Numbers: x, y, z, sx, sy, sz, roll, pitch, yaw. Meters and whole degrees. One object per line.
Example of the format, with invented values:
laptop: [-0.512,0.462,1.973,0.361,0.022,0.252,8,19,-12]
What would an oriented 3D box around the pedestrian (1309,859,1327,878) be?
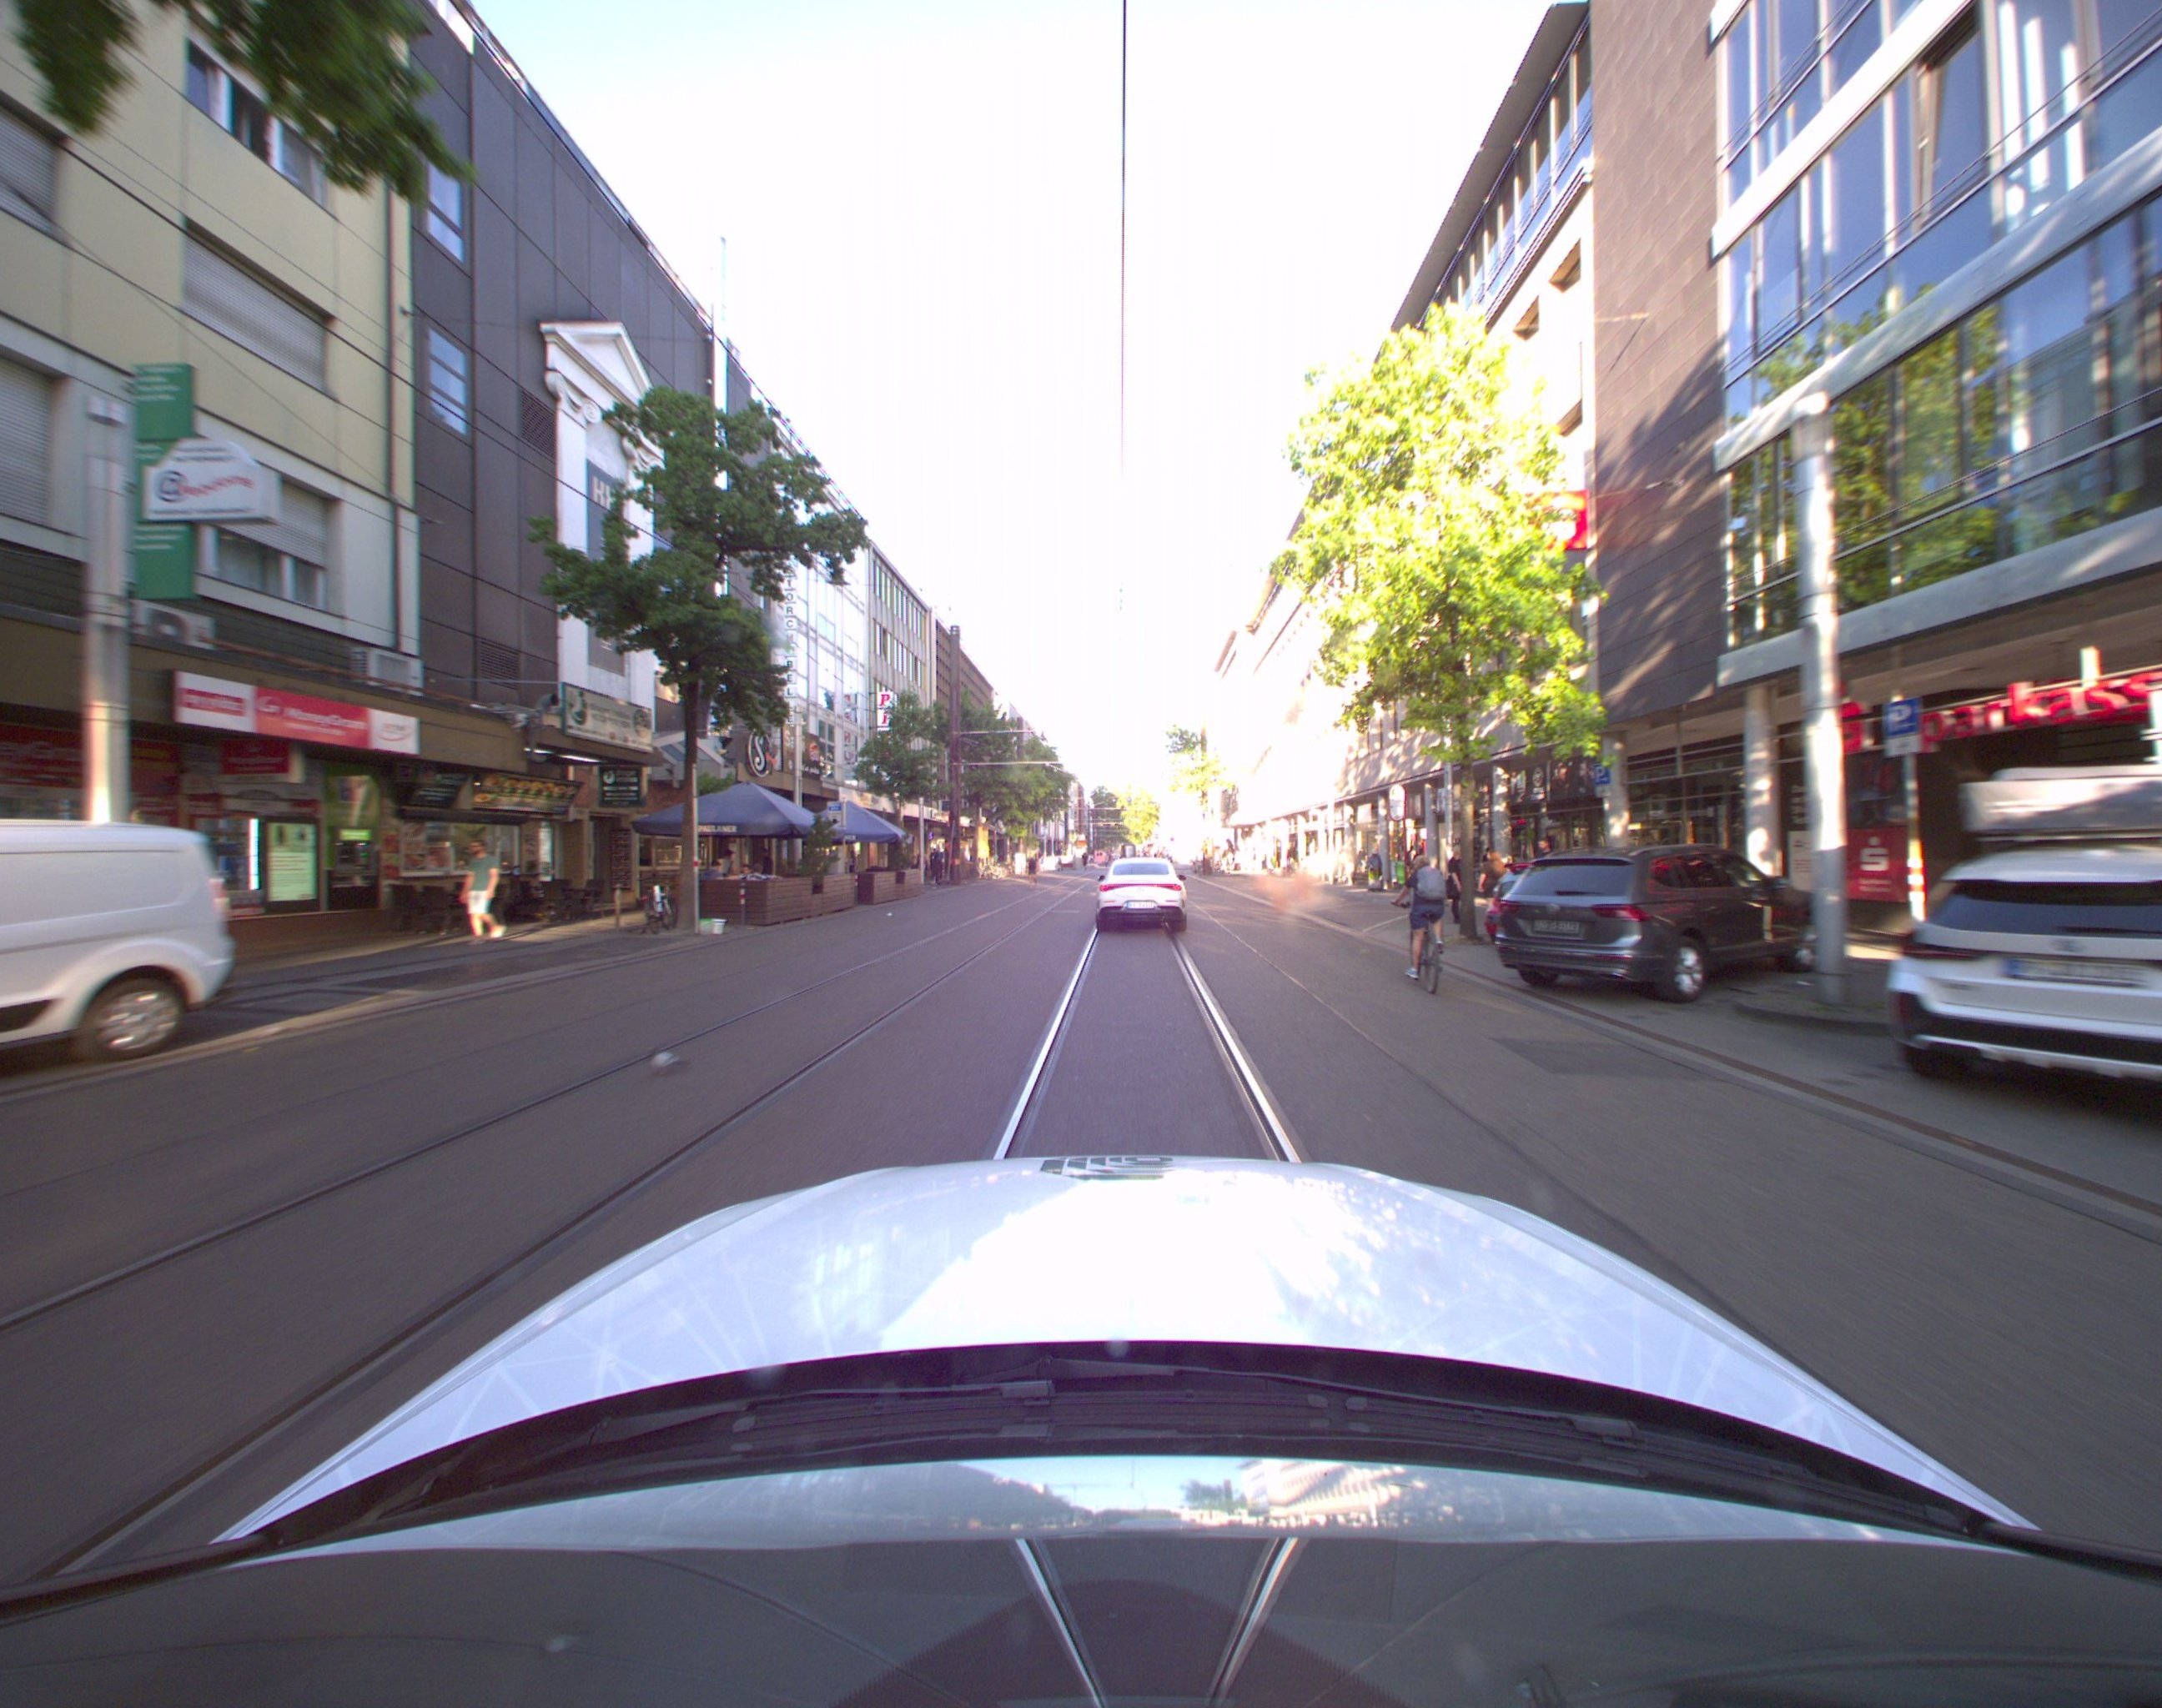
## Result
pedestrian: [12.827,0.784,44.075,0.831,1.031,0.698,0,0,8]

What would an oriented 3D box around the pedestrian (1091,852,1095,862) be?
pedestrian: [1.902,0.427,130.754,0.657,1.599,0.574,-1,0,2]

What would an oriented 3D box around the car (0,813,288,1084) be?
car: [-8.344,0.623,5.217,1.787,1.864,4.559,2,0,4]

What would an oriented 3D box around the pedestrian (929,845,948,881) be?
pedestrian: [-7.735,0.478,44.306,0.798,1.923,1.071,2,0,0]

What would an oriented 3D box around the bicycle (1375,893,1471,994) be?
bicycle: [4.154,1.039,10.049,0.713,0.995,2.066,1,0,12]

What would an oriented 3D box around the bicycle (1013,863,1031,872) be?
bicycle: [-5.056,1.136,69.443,1.486,0.783,0.345,1,0,4]

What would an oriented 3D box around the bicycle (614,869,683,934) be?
bicycle: [-8.587,0.916,16.266,0.698,1.121,2.076,2,0,-14]

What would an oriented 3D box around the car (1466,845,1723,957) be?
car: [8.271,0.694,13.199,3.395,1.481,1.658,-3,0,-17]

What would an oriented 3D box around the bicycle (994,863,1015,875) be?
bicycle: [-5.517,1.048,58.713,1.486,0.841,0.345,1,0,4]

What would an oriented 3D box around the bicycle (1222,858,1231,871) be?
bicycle: [12.927,0.907,72.346,0.561,1.127,1.933,-2,0,7]

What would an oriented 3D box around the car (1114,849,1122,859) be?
car: [10.584,-0.008,230.948,2.090,2.897,5.280,-1,0,4]

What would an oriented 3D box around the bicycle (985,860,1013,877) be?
bicycle: [-5.613,1.024,55.975,1.838,1.141,0.377,1,0,4]

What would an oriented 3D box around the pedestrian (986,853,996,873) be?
pedestrian: [-7.430,0.767,67.099,0.712,1.639,0.684,-1,0,-3]

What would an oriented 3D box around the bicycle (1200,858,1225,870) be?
bicycle: [11.800,0.896,73.225,2.112,1.096,0.608,-1,-1,-8]

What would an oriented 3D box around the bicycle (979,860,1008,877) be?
bicycle: [-5.593,0.929,52.157,1.783,1.077,0.377,1,0,-1]

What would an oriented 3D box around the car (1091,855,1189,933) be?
car: [1.244,0.764,17.519,1.849,1.455,4.178,0,0,3]

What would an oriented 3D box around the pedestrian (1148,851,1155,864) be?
pedestrian: [10.337,0.521,119.902,0.956,1.785,0.804,-2,0,3]

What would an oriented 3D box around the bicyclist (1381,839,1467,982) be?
bicyclist: [4.113,0.644,9.824,0.772,1.613,0.916,1,0,12]

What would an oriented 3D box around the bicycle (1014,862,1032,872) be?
bicycle: [-5.001,1.130,69.811,1.486,0.783,0.345,1,0,4]

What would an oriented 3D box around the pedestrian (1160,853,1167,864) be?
pedestrian: [12.662,0.699,125.716,0.956,1.785,0.804,-2,0,3]

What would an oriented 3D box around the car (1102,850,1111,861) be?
car: [6.243,0.384,199.047,1.901,2.461,5.280,-1,0,4]

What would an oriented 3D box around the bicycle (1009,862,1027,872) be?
bicycle: [-5.284,1.113,68.014,1.486,0.783,0.345,1,0,4]

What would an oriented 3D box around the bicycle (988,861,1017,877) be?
bicycle: [-5.155,0.978,53.362,1.841,1.077,0.377,1,0,-1]

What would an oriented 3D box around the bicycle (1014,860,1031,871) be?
bicycle: [-5.071,1.004,70.775,1.491,1.009,0.344,1,0,-7]

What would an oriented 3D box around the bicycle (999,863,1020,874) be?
bicycle: [-5.309,1.089,60.438,1.486,0.783,0.345,1,0,4]

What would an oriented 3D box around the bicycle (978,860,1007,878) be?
bicycle: [-5.611,0.958,51.706,1.783,1.077,0.377,1,0,-1]

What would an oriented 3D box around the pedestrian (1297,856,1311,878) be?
pedestrian: [12.454,0.709,45.519,0.663,1.198,0.786,0,0,8]

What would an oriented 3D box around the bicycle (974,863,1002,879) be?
bicycle: [-5.580,1.019,48.862,1.586,0.930,0.378,1,0,9]

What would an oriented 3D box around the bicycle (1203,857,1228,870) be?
bicycle: [11.737,0.860,71.025,2.113,1.096,0.608,-1,-1,-10]

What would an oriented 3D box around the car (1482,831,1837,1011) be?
car: [7.039,0.652,9.822,4.367,1.652,1.679,-3,0,-28]

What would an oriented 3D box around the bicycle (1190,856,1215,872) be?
bicycle: [10.250,0.839,68.777,1.907,1.281,0.608,-2,0,-8]

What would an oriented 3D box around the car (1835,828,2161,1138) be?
car: [7.501,0.656,5.751,4.260,1.587,1.867,-3,0,-28]

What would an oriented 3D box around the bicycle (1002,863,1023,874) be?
bicycle: [-5.123,1.094,61.082,1.486,0.783,0.345,1,0,4]

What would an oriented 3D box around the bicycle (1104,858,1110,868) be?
bicycle: [3.259,1.114,102.375,0.797,1.142,2.258,1,0,2]

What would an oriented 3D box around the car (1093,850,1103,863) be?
car: [3.742,0.611,180.344,1.985,2.897,5.280,-1,0,4]

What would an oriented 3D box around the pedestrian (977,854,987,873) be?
pedestrian: [-8.129,0.760,66.850,0.712,1.547,0.684,-1,0,-3]

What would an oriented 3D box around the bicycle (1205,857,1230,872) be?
bicycle: [11.401,0.844,67.910,1.907,1.156,0.608,-2,0,-8]

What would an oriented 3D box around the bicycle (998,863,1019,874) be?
bicycle: [-5.325,1.056,59.731,1.486,0.841,0.345,1,0,4]

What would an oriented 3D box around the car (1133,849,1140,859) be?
car: [15.774,-0.035,231.011,2.090,2.897,5.290,-1,0,4]

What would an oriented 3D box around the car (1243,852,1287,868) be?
car: [17.488,0.588,77.613,3.791,1.473,1.648,-1,0,-2]

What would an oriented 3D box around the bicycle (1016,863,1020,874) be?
bicycle: [-4.799,1.076,62.046,0.343,0.783,1.403,1,0,-4]

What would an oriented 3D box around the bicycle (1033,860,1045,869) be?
bicycle: [-4.749,1.202,92.438,0.713,1.010,2.048,-1,0,17]

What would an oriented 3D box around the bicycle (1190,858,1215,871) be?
bicycle: [10.671,0.904,71.747,2.112,1.096,0.608,0,-1,-8]

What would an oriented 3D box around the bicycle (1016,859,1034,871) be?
bicycle: [-4.912,1.000,71.207,1.491,1.029,0.344,1,0,-7]
